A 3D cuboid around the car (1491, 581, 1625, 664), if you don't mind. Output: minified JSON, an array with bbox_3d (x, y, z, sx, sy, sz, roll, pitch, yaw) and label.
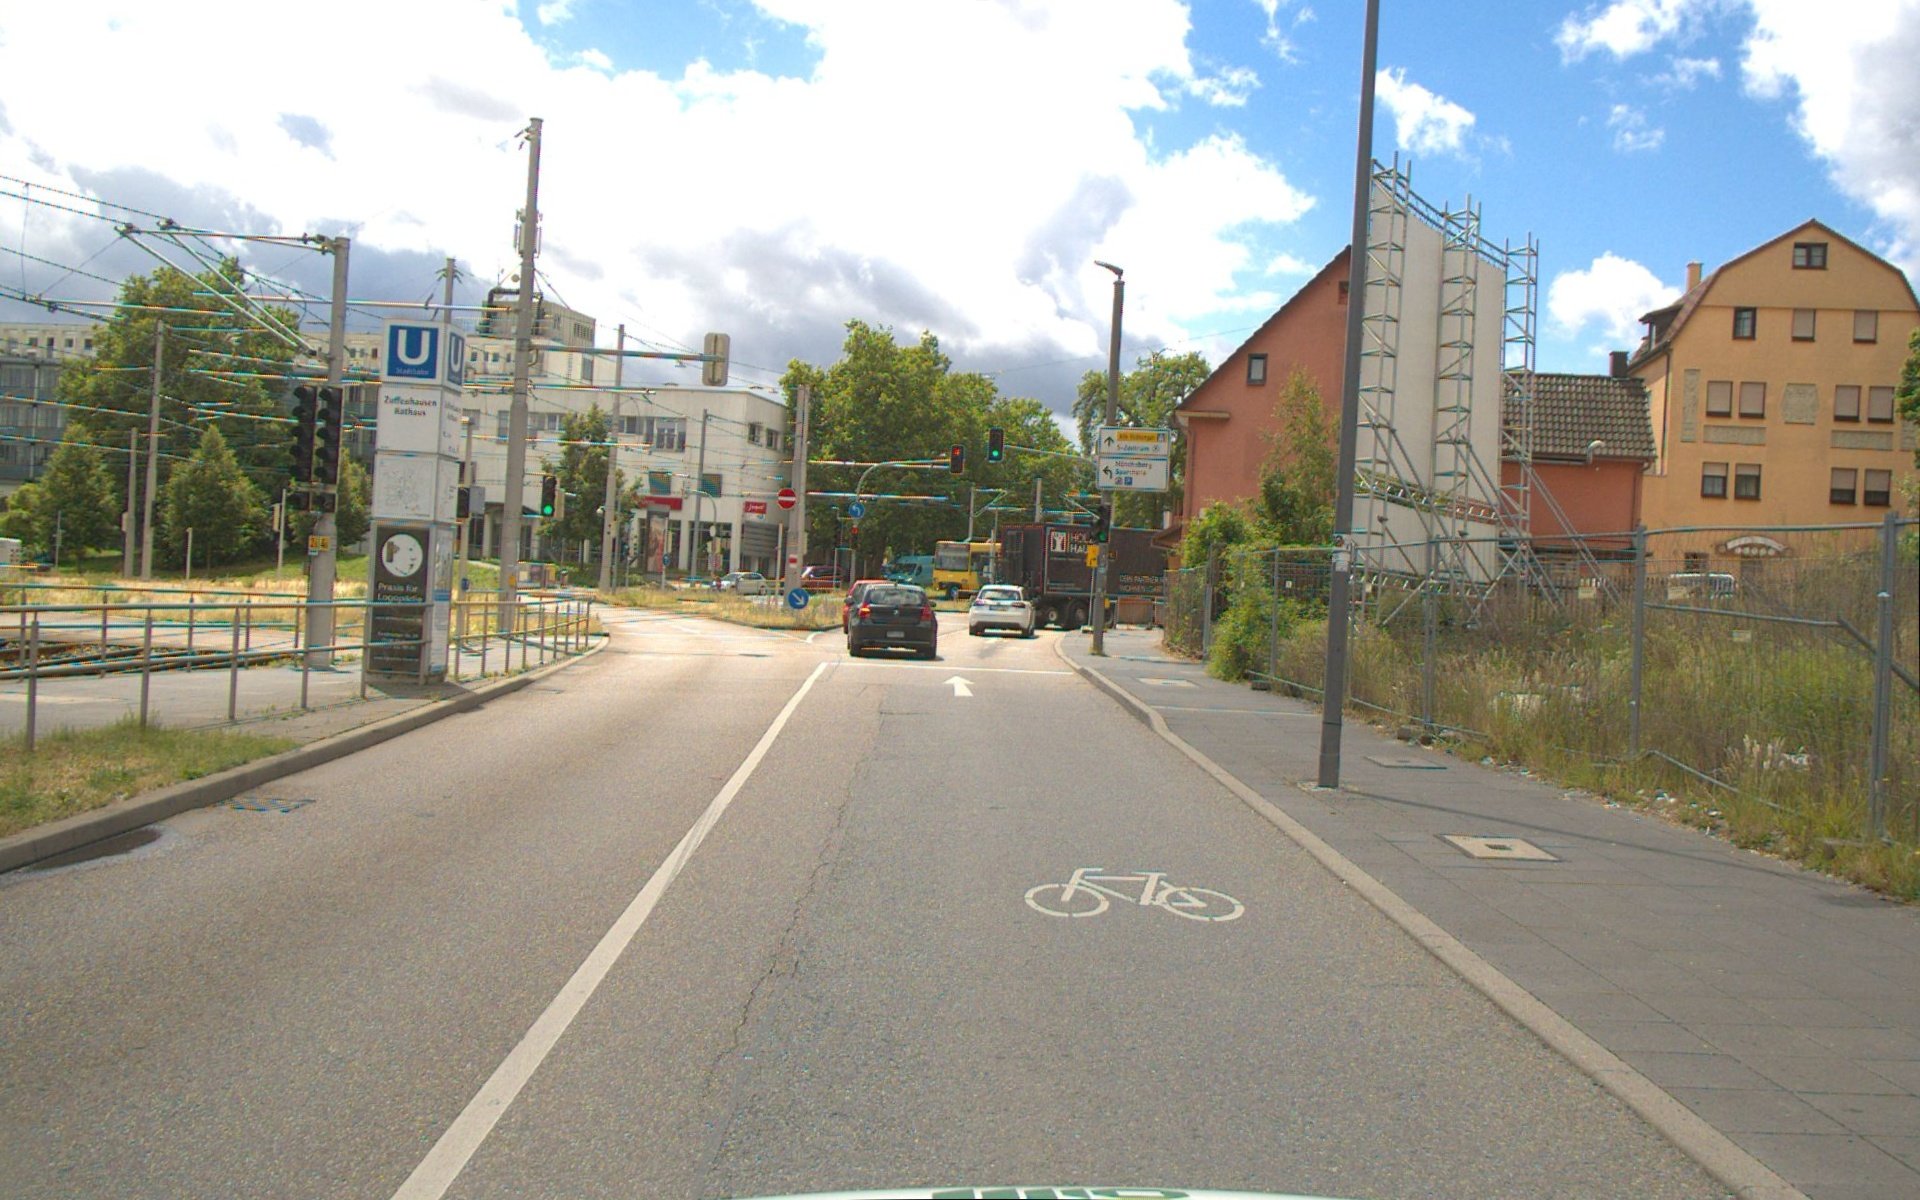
[{"bbox_3d":[8.896,0.308,24.721,1.050,1.140,2.445,1,1,-2],"label":"car"}]

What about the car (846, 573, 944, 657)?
[{"bbox_3d":[-1.351,0.257,33.171,1.693,1.482,3.804,3,1,-6],"label":"car"}]

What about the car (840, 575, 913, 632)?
[{"bbox_3d":[-2.281,0.066,45.798,1.676,1.417,3.810,3,1,1],"label":"car"}]

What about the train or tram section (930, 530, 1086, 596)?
[{"bbox_3d":[3.566,-2.322,110.304,2.645,3.815,18.339,4,1,27],"label":"train or tram section"}]

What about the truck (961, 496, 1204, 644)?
[{"bbox_3d":[4.643,-1.033,61.042,8.936,4.614,3.170,5,-1,-38],"label":"truck"}]

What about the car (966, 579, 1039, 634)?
[{"bbox_3d":[1.308,0.200,49.569,1.848,1.491,4.071,2,0,6],"label":"car"}]

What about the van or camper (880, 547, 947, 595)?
[{"bbox_3d":[-3.215,-2.001,115.849,2.132,2.854,6.066,4,-2,23],"label":"van or camper"}]

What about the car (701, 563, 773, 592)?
[{"bbox_3d":[-13.408,-1.342,99.723,1.963,1.489,3.979,4,0,40],"label":"car"}]

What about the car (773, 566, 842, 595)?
[{"bbox_3d":[-9.671,-1.226,104.831,1.963,1.628,4.178,3,1,39],"label":"car"}]
